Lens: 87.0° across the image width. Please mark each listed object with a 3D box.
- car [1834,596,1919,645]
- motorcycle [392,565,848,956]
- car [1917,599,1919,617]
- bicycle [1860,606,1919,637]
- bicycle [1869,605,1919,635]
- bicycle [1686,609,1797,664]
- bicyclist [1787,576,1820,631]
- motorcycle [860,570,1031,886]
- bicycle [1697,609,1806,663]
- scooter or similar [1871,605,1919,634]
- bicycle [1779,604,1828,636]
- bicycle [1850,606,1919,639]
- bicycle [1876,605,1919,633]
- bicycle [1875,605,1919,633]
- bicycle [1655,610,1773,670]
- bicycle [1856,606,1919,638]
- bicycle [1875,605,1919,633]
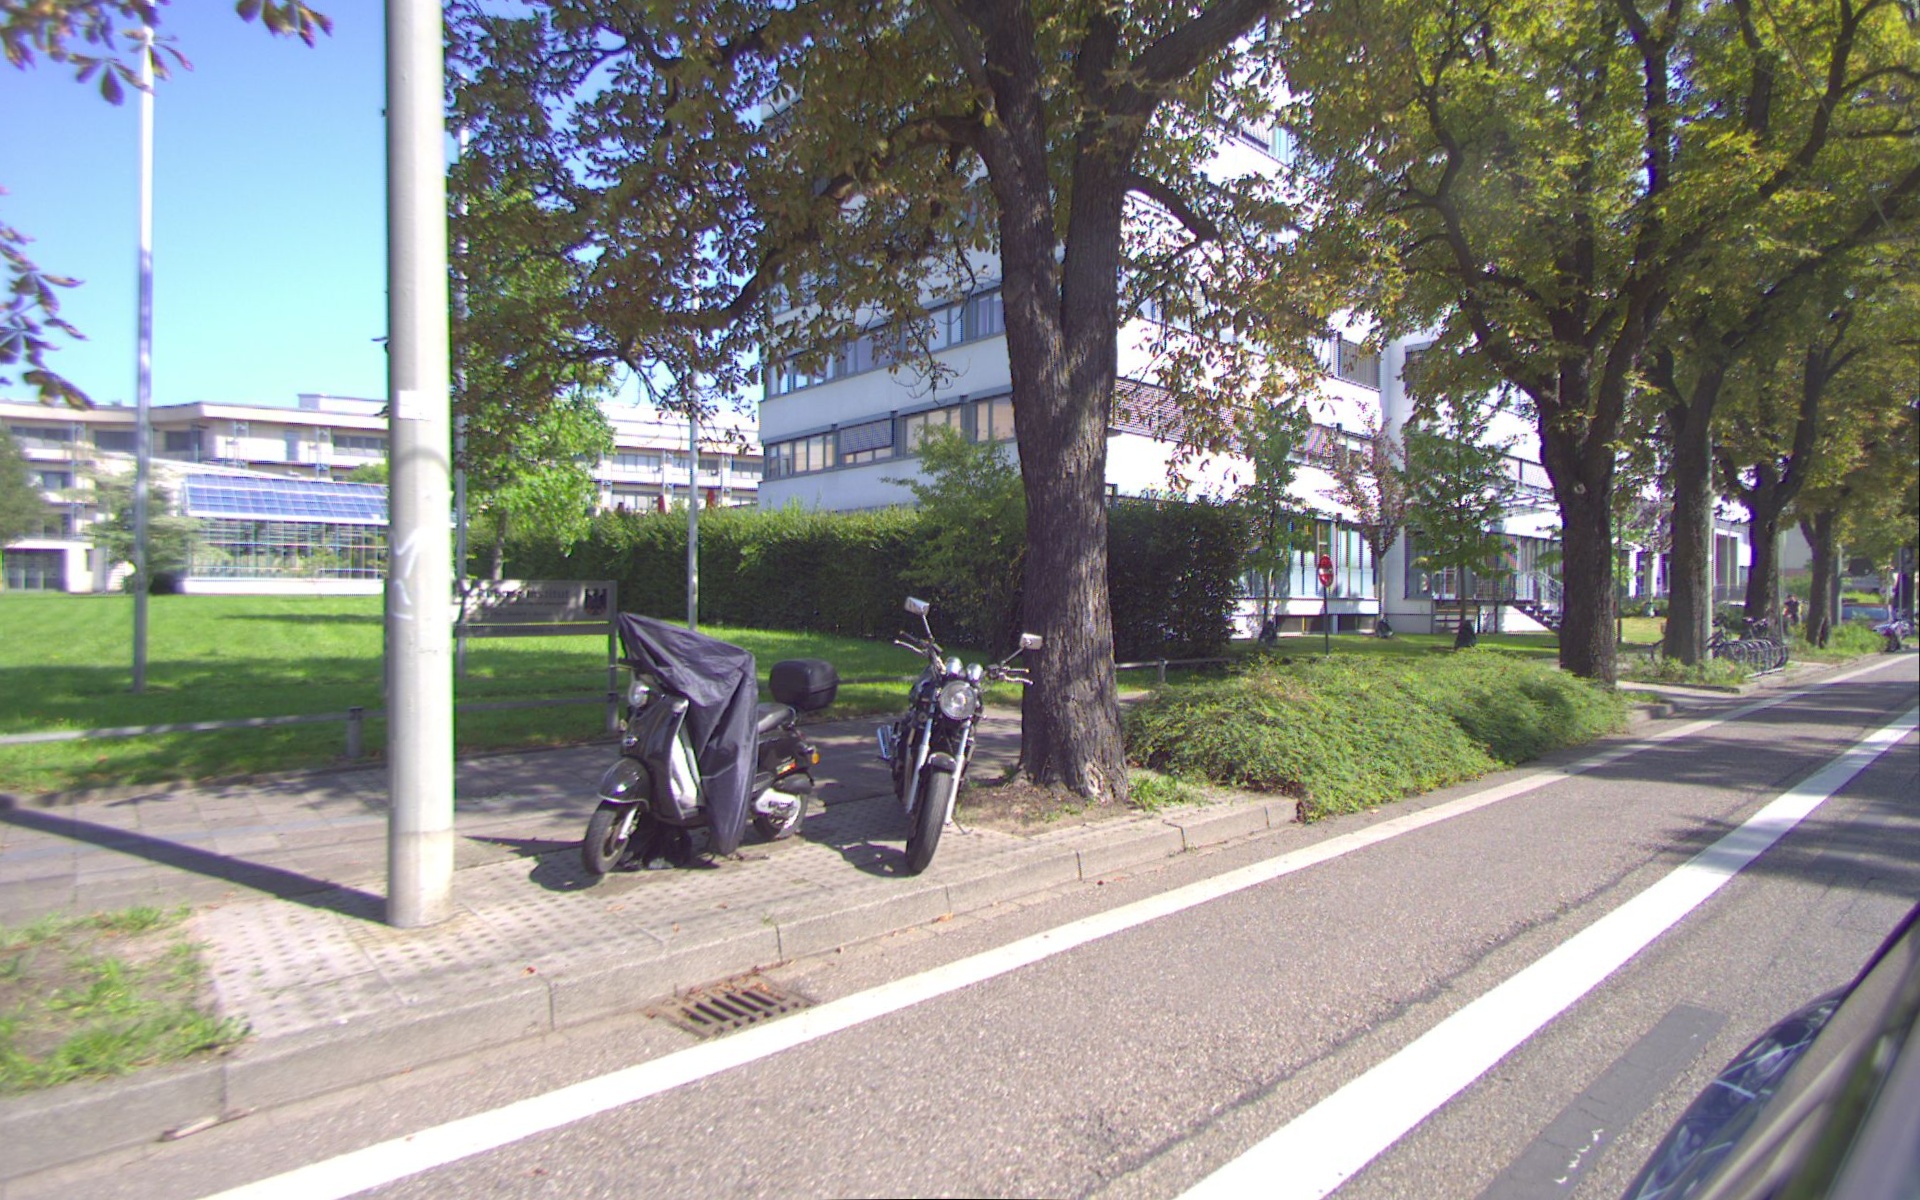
[{"bbox_3d":[30.107,0.611,33.096,4.200,1.480,1.758,0,1,-42],"label":"car"},{"bbox_3d":[-1.557,0.626,5.269,0.843,1.535,2.435,0,0,24],"label":"motorcycle"},{"bbox_3d":[84.366,0.678,85.871,4.539,1.534,1.930,0,0,44],"label":"car"},{"bbox_3d":[34.373,0.779,37.261,0.531,1.085,1.774,1,1,-42],"label":"bicycle"},{"bbox_3d":[36.251,0.770,38.970,0.531,1.085,1.774,1,1,-42],"label":"bicycle"},{"bbox_3d":[16.508,0.752,21.411,0.531,1.063,1.774,1,1,-42],"label":"bicycle"},{"bbox_3d":[31.898,0.114,38.260,1.253,2.039,0.781,0,-1,-43],"label":"bicyclist"},{"bbox_3d":[-0.136,0.620,6.178,0.836,1.535,2.456,0,0,-3],"label":"motorcycle"},{"bbox_3d":[17.033,0.750,21.821,0.531,1.063,1.774,1,1,-42],"label":"bicycle"},{"bbox_3d":[36.669,0.768,39.370,0.531,1.085,1.774,1,1,-42],"label":"scooter or similar"},{"bbox_3d":[31.959,0.730,38.319,2.494,1.139,1.136,0,0,-44],"label":"bicycle"},{"bbox_3d":[32.938,0.786,36.048,0.531,1.085,1.774,1,1,-42],"label":"bicycle"},{"bbox_3d":[38.247,0.761,40.900,0.531,1.085,1.774,1,1,-42],"label":"bicycle"},{"bbox_3d":[37.828,0.763,40.483,0.531,1.085,1.774,1,1,-42],"label":"bicycle"},{"bbox_3d":[14.702,0.761,19.774,0.531,1.063,1.774,1,1,-42],"label":"bicycle"},{"bbox_3d":[33.565,0.783,36.540,0.531,1.085,1.774,1,1,-42],"label":"bicycle"},{"bbox_3d":[38.224,0.761,40.894,0.531,1.085,1.774,1,1,-42],"label":"bicycle"}]
